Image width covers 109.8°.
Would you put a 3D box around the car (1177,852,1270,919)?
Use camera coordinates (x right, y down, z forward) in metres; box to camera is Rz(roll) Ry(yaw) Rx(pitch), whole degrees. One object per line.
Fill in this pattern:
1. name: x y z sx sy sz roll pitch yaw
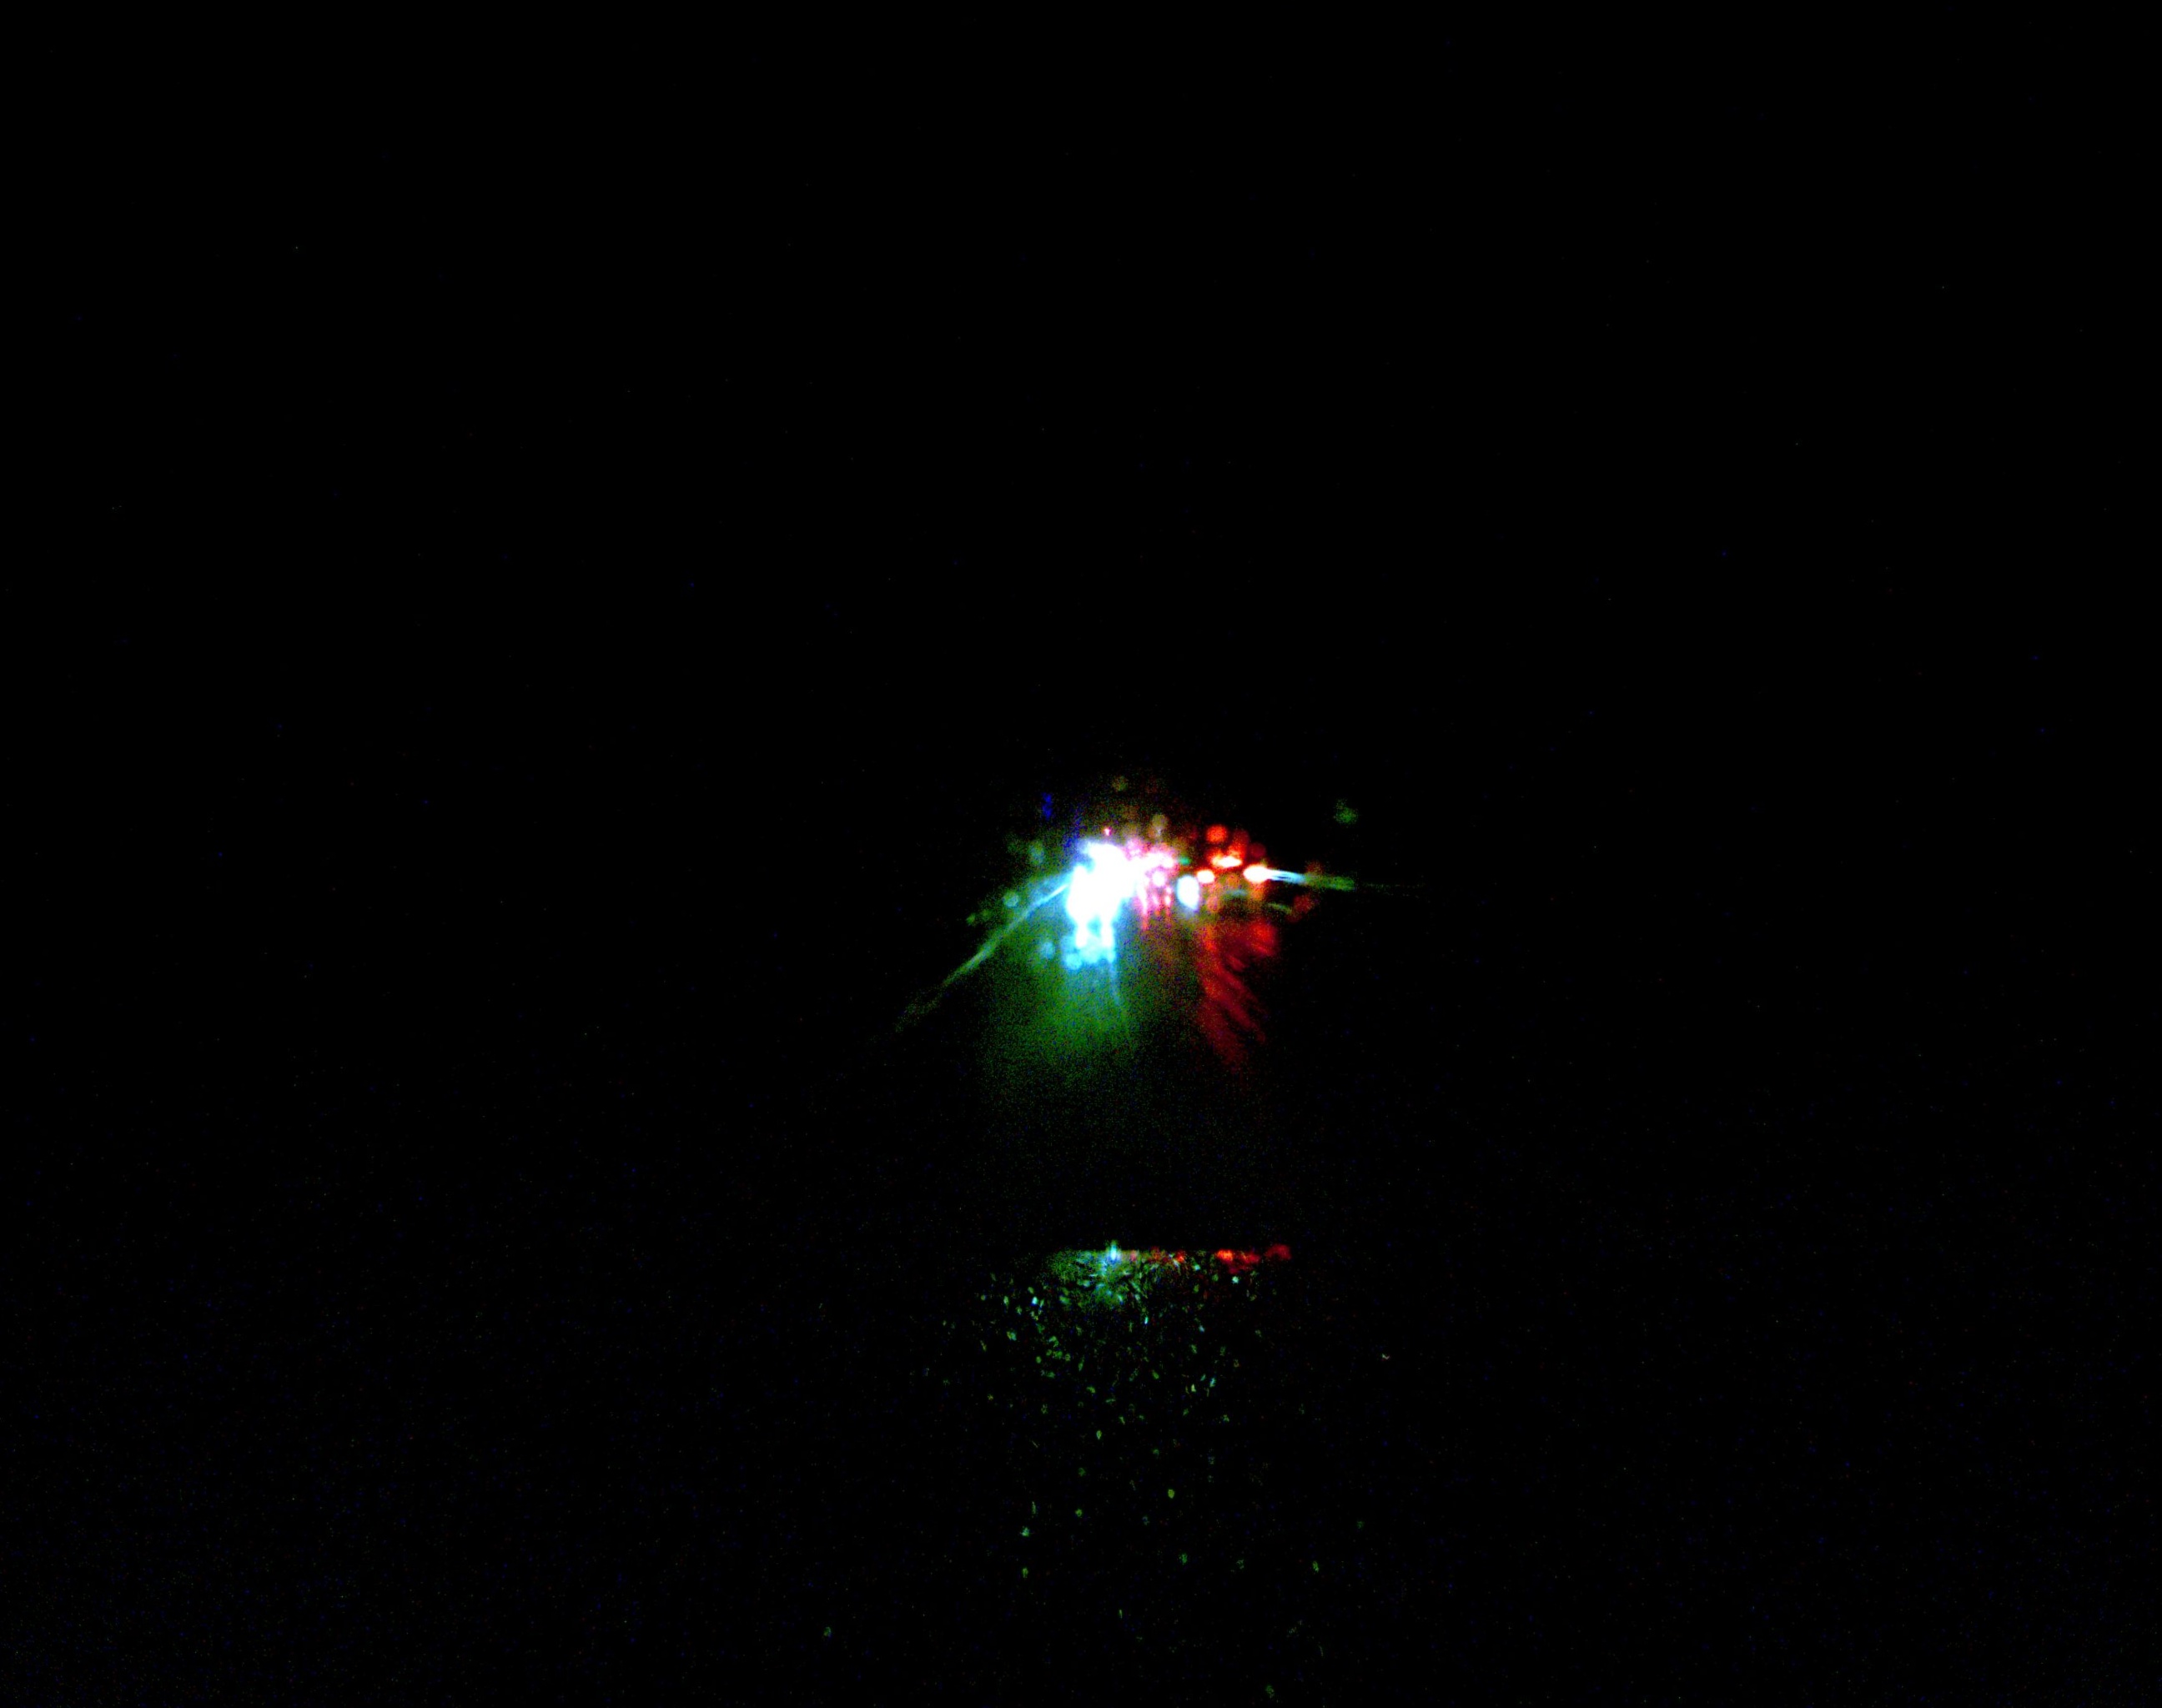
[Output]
1. car: 3.654 0.758 20.119 1.720 1.545 4.000 -2 0 1

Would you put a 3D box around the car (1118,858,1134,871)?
1. car: 5.895 1.322 100.043 1.790 1.623 4.426 -2 0 1

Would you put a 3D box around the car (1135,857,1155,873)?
1. car: 7.522 1.234 89.155 1.951 1.629 4.821 -4 1 2

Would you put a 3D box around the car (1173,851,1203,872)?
1. car: 8.471 0.591 60.432 1.835 1.545 4.442 -2 0 1

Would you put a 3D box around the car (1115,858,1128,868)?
1. car: 5.962 1.321 112.318 1.790 1.459 3.777 -2 0 1

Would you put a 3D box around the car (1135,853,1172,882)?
1. car: 4.446 0.818 47.189 1.835 1.546 4.441 -4 1 1

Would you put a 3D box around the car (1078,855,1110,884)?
1. car: 0.892 1.007 51.976 1.998 1.804 4.000 -3 0 1

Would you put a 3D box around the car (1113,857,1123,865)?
1. car: 6.916 1.364 143.211 1.790 1.380 3.776 -4 1 2
